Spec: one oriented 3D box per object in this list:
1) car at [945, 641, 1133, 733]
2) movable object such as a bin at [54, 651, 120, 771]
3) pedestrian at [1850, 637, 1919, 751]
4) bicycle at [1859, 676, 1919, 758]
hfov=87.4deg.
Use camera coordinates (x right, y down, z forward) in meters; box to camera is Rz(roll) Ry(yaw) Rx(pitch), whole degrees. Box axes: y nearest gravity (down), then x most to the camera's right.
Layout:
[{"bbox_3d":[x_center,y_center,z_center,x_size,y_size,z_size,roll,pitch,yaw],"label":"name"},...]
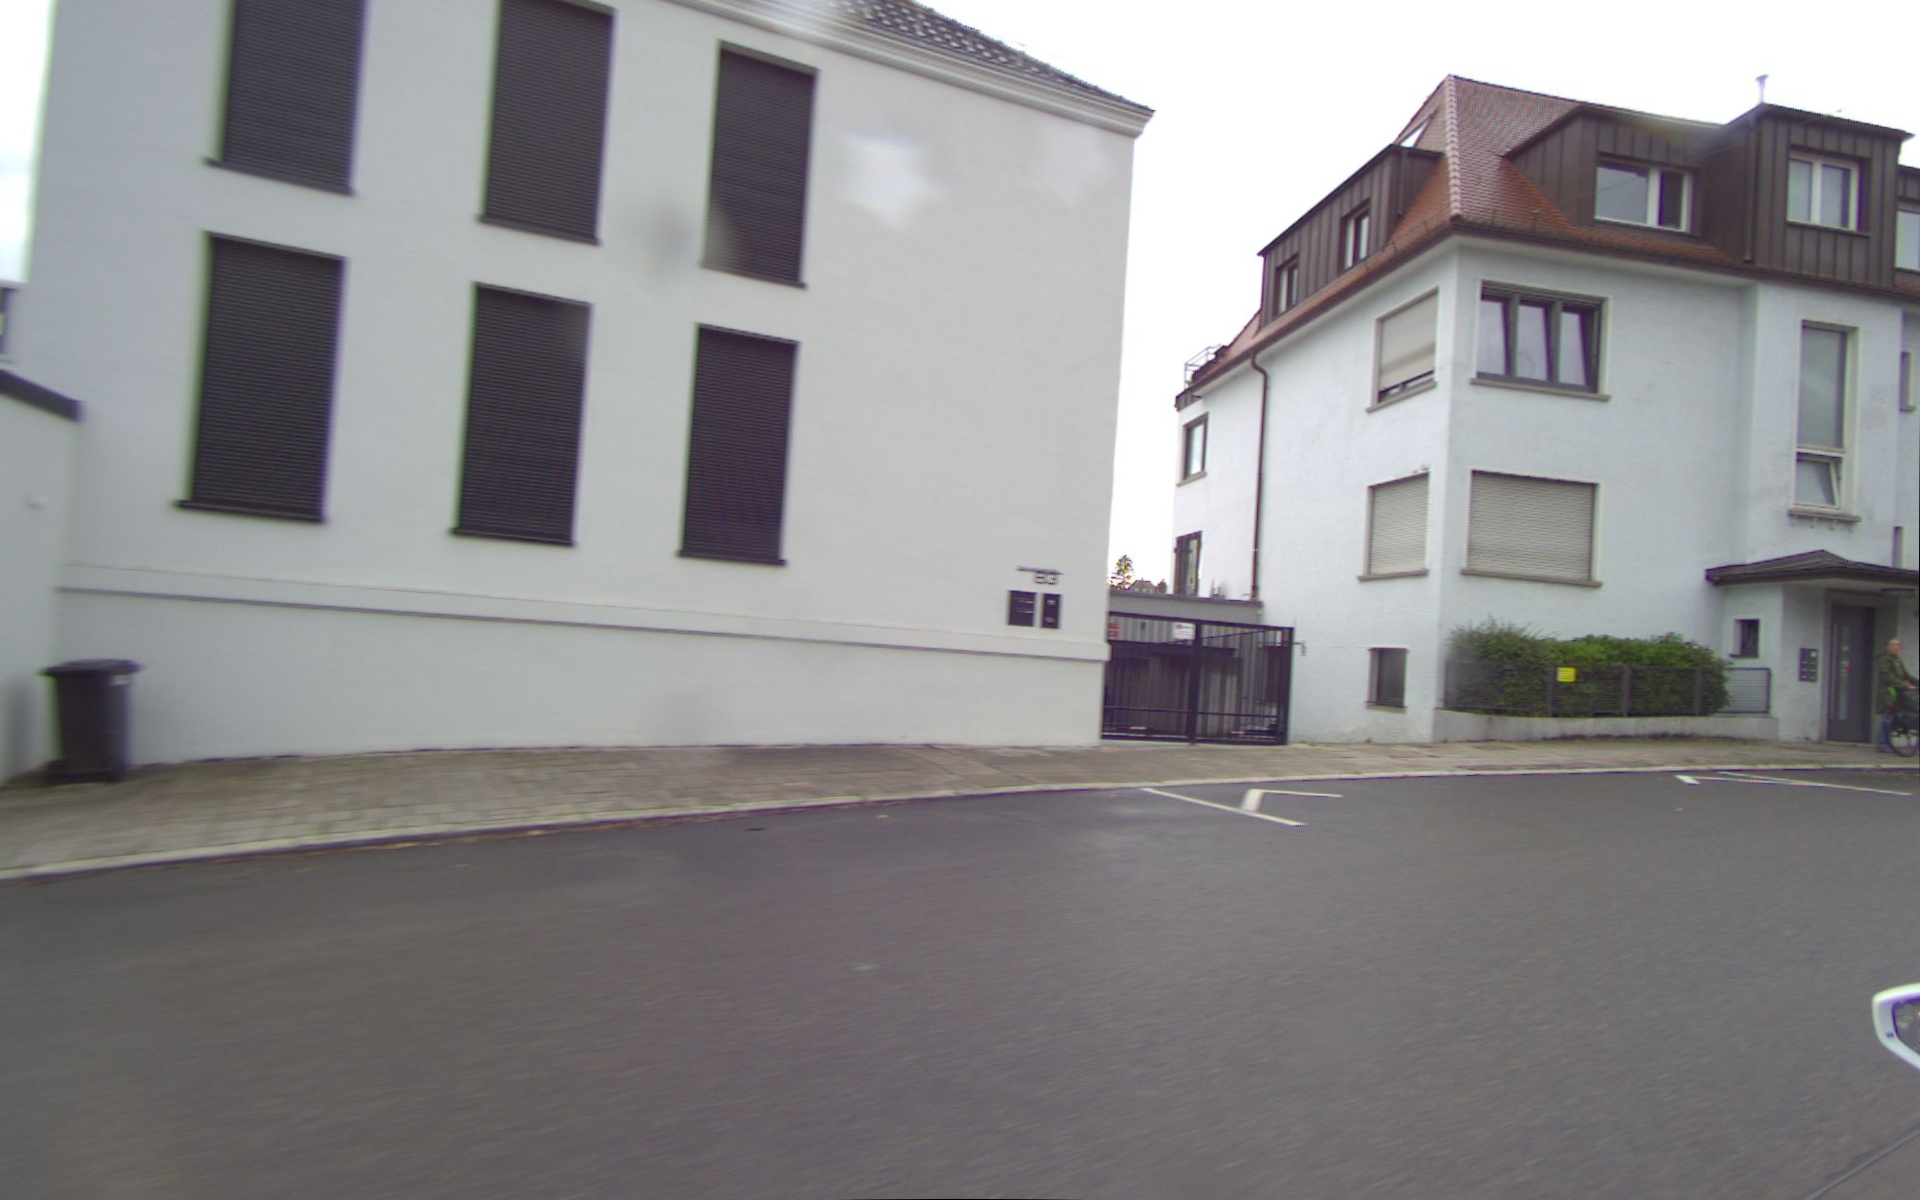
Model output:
[{"bbox_3d":[1.258,1.614,17.659,1.717,1.369,3.983,4,-8,-22],"label":"car"},{"bbox_3d":[-6.938,0.867,7.991,0.279,0.924,0.369,2,-3,-27],"label":"movable object such as a bin"},{"bbox_3d":[13.538,1.351,14.588,0.932,1.598,0.493,1,-1,-14],"label":"pedestrian"},{"bbox_3d":[13.591,1.625,14.115,1.889,1.081,0.456,1,-1,-14],"label":"bicycle"}]
